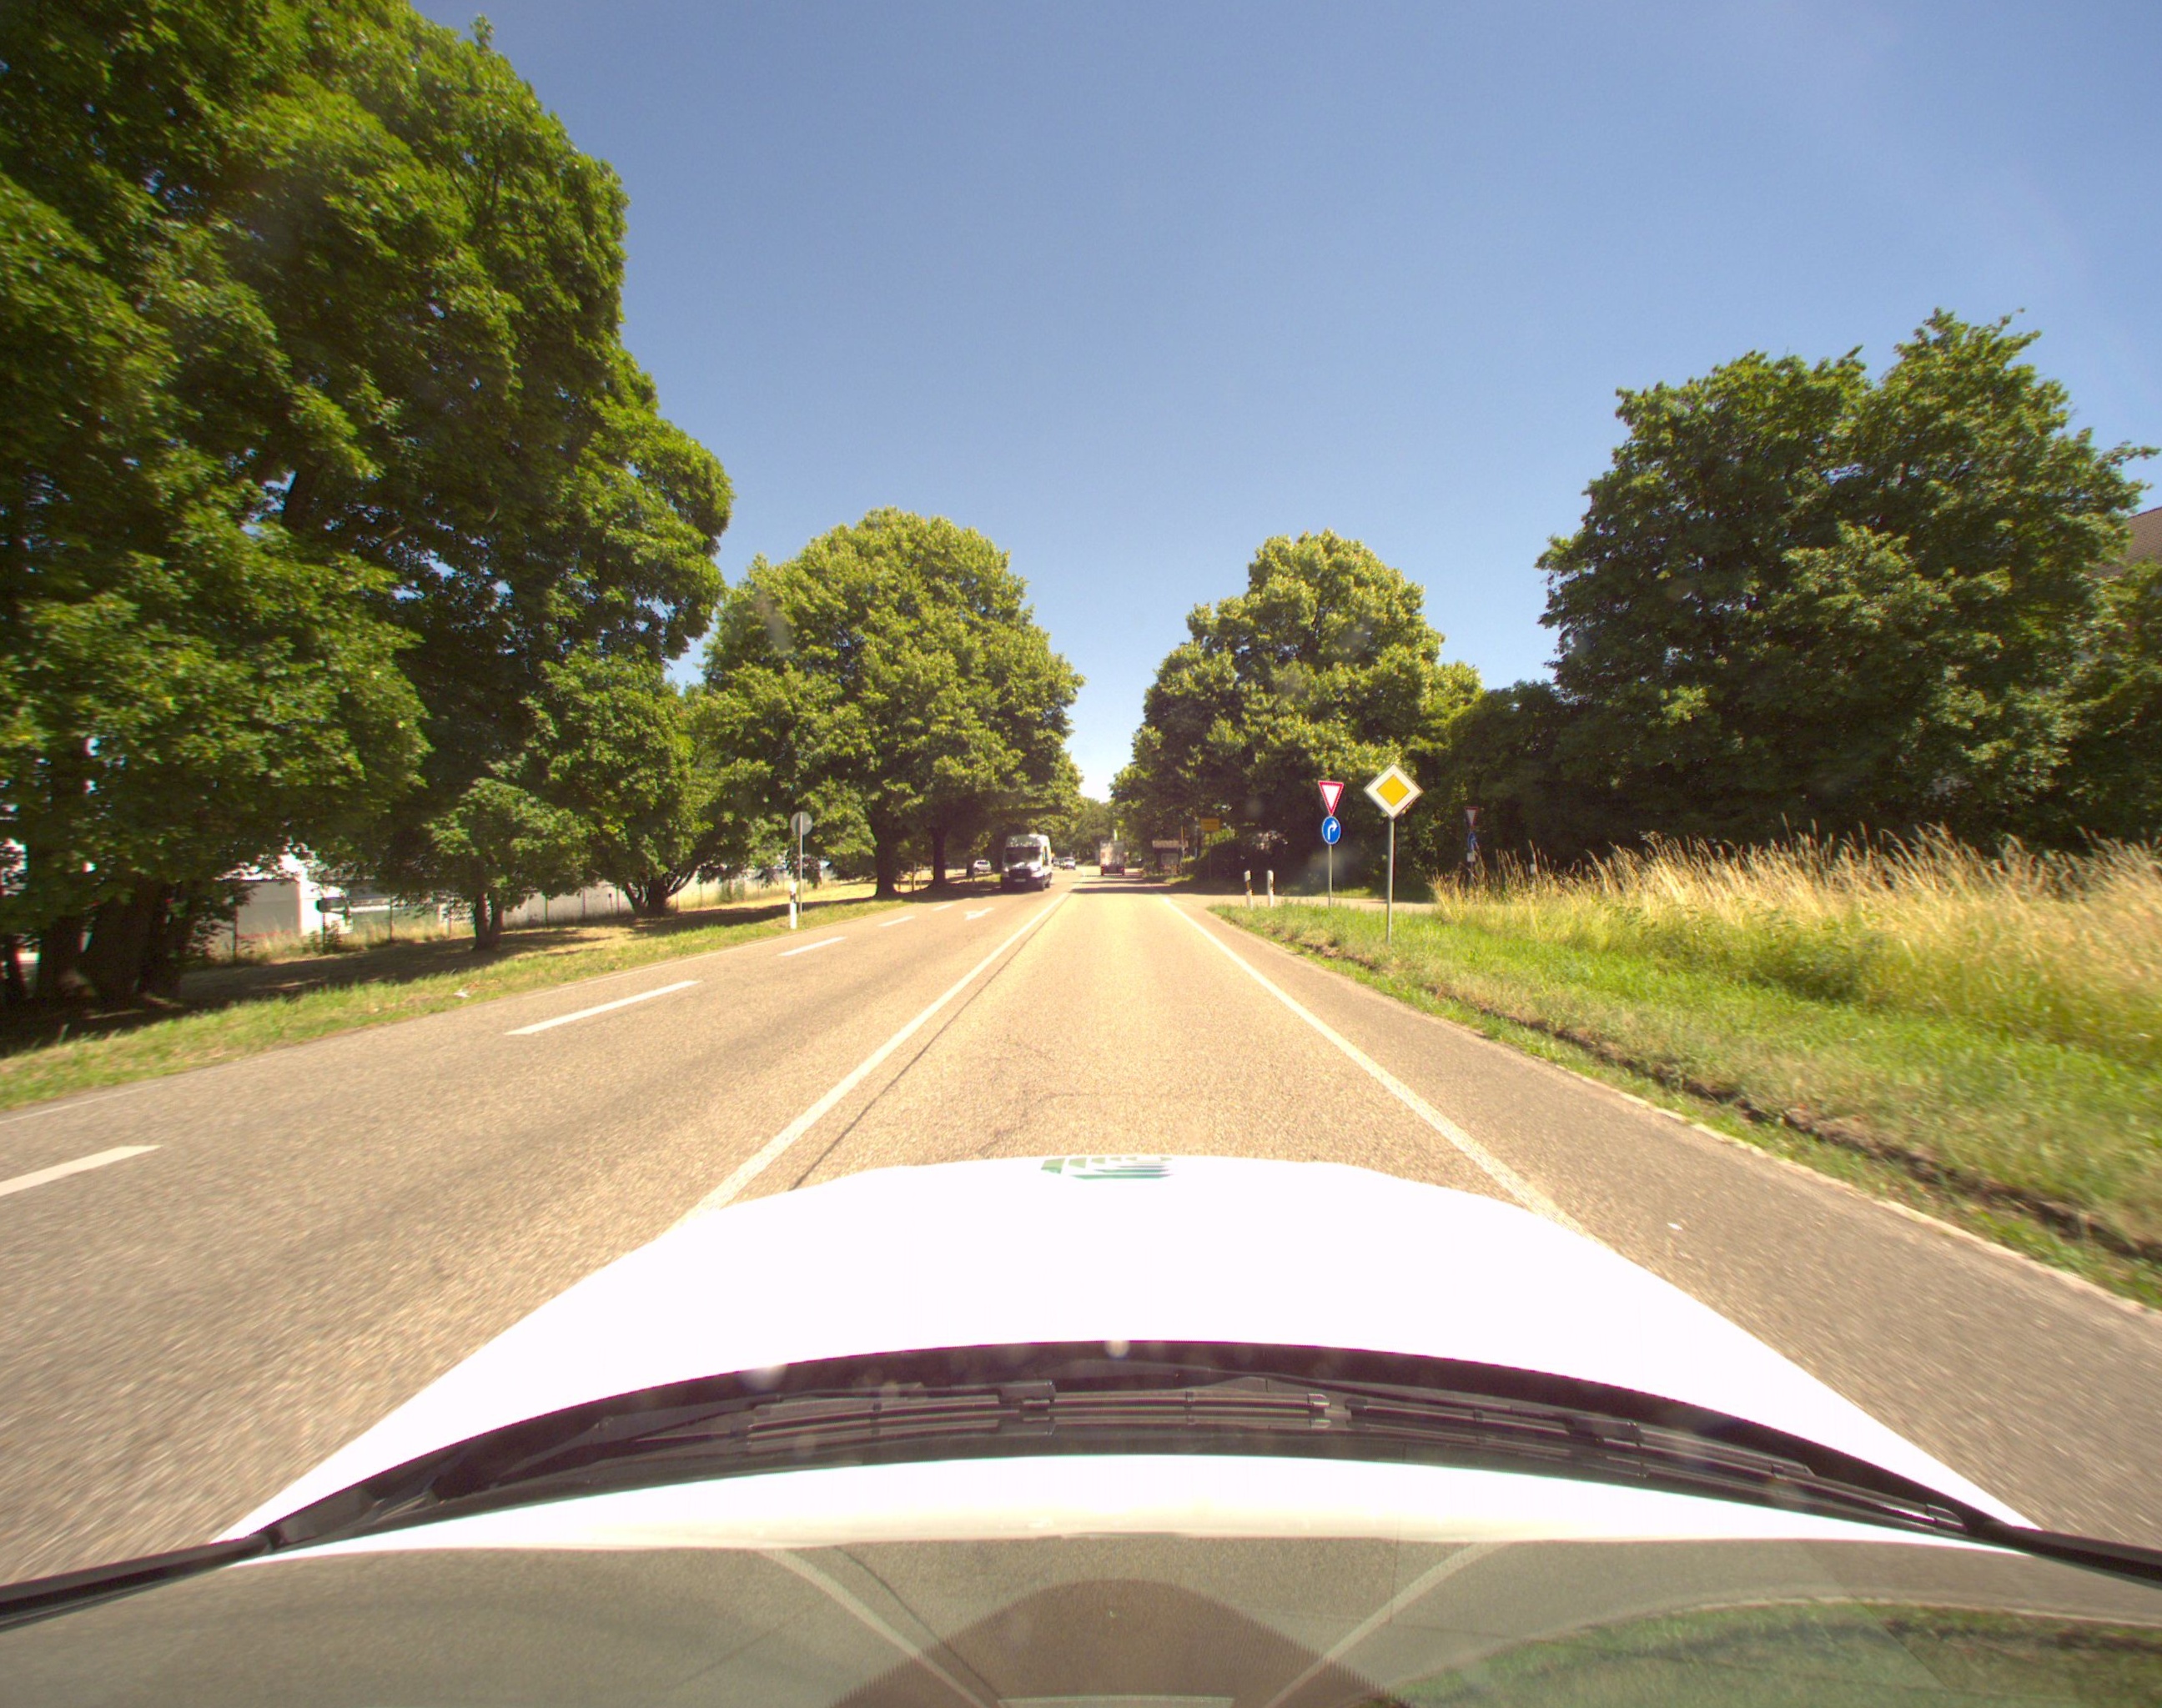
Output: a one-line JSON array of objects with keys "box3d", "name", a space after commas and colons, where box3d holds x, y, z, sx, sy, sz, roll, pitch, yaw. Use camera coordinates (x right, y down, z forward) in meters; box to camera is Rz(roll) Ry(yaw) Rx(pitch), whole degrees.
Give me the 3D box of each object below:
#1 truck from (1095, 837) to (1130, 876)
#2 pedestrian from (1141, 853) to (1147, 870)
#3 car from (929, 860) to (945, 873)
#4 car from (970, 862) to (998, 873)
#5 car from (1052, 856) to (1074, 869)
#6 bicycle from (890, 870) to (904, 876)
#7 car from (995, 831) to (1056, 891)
[{"box3d": [2.740, 0.178, 69.617, 2.521, 3.135, 5.370, -2, 0, 6], "name": "truck"}, {"box3d": [6.731, 0.778, 87.436, 0.545, 1.776, 0.578, -2, -1, 6], "name": "pedestrian"}, {"box3d": [-17.992, 1.552, 101.319, 1.738, 1.585, 3.982, -1, 0, -13], "name": "car"}, {"box3d": [-12.479, 1.696, 104.348, 3.390, 1.362, 1.343, -2, -1, 30], "name": "car"}, {"box3d": [-2.678, 1.262, 120.479, 1.998, 1.857, 5.285, -1, -1, -17], "name": "car"}, {"box3d": [-22.663, 2.317, 100.307, 1.668, 0.646, 0.424, -2, -1, -4], "name": "bicycle"}, {"box3d": [-2.586, 0.355, 39.775, 2.064, 2.627, 6.790, -2, 0, 4], "name": "car"}]
